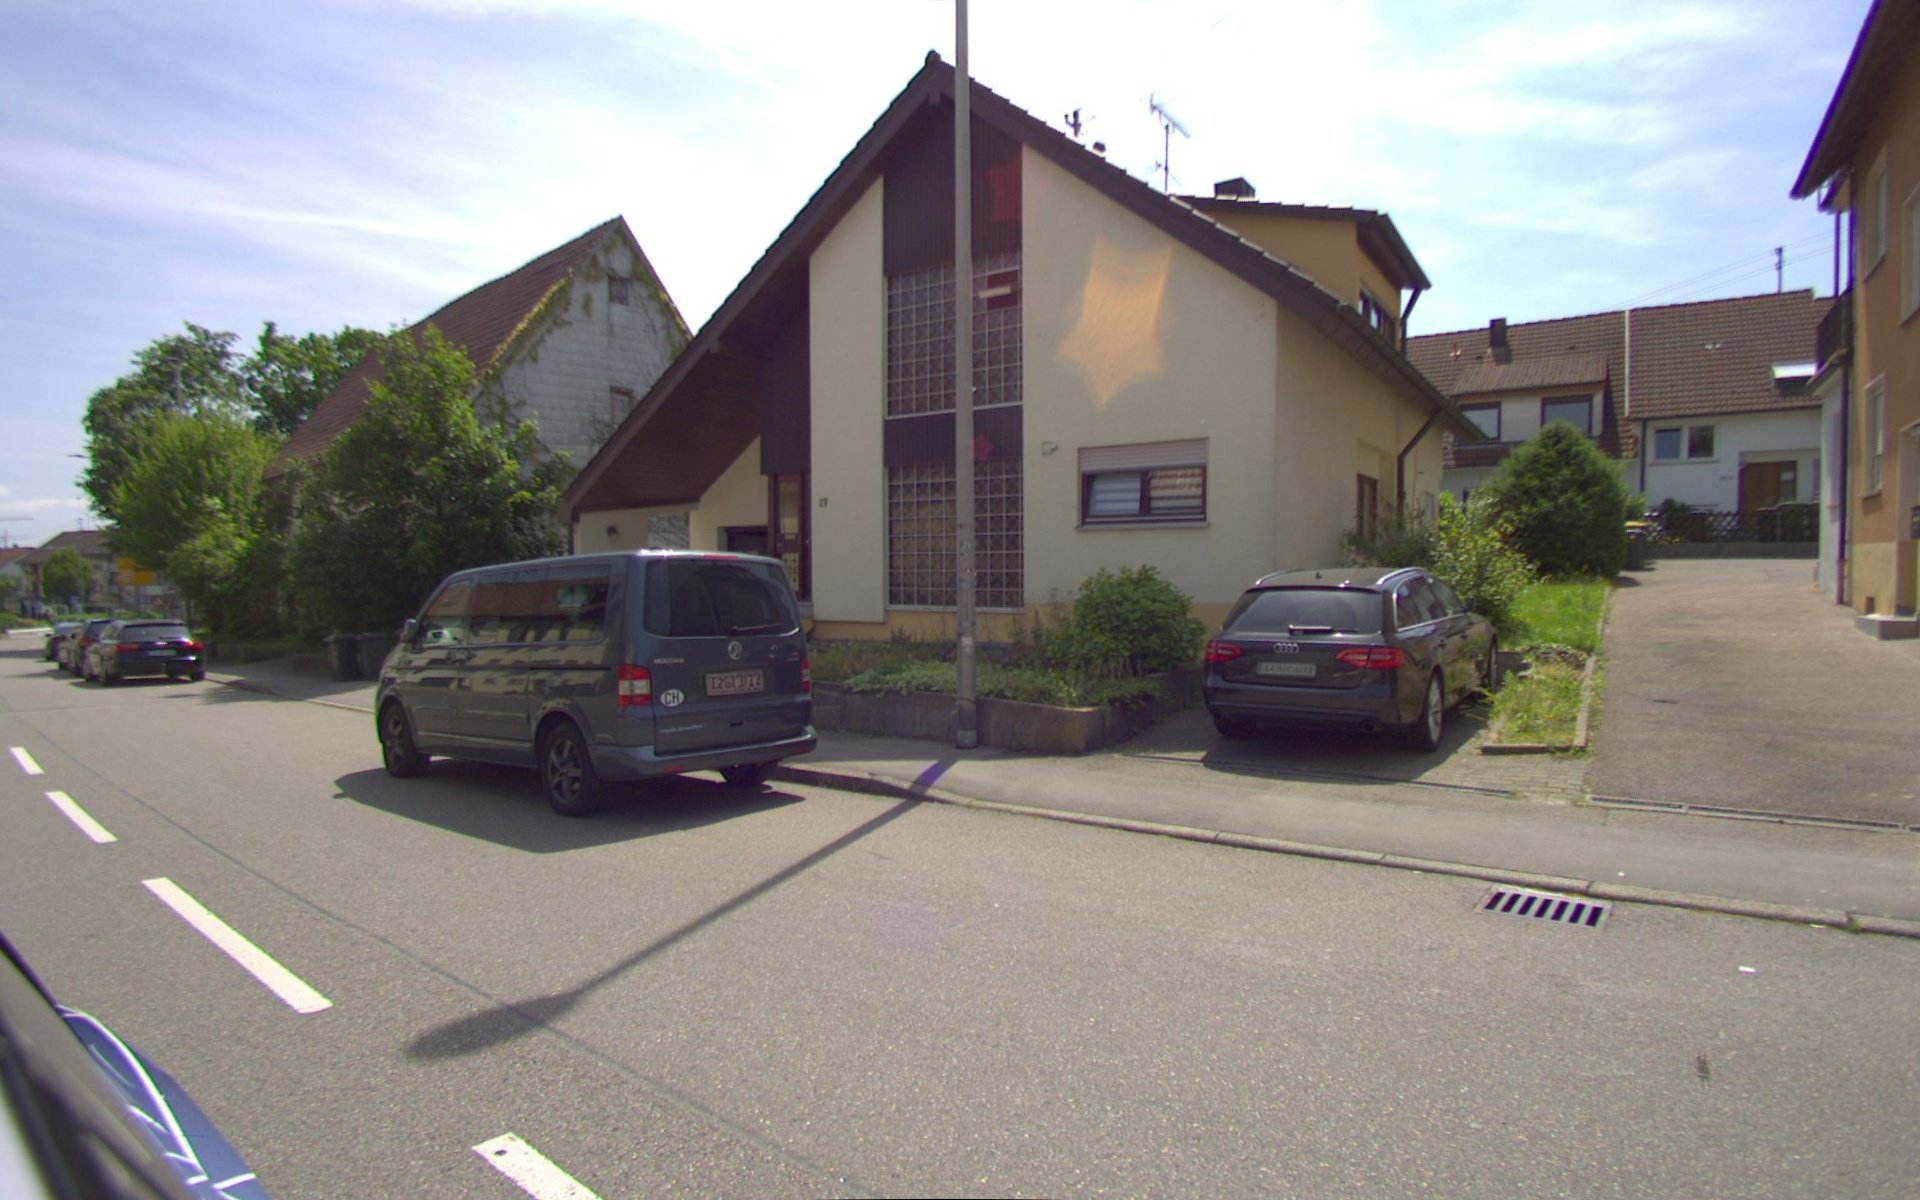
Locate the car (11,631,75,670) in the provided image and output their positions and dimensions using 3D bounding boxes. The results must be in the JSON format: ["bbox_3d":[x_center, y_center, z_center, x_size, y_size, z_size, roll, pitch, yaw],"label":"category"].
[{"bbox_3d":[-37.363,2.031,41.309,1.782,1.434,4.935,-1,-1,-41],"label":"car"}]

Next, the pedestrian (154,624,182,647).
[{"bbox_3d":[-47.544,2.113,60.772,1.220,1.278,0.648,-3,2,-34],"label":"pedestrian"}]

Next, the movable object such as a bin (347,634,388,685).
[{"bbox_3d":[-11.759,1.176,20.072,0.527,0.945,0.469,-1,5,40],"label":"movable object such as a bin"}]

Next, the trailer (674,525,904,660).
[{"bbox_3d":[-3.154,-0.223,19.274,1.998,2.027,3.796,-1,7,39],"label":"trailer"}]

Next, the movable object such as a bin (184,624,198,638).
[{"bbox_3d":[-60.875,2.447,80.078,0.790,1.007,0.807,-4,2,-35],"label":"movable object such as a bin"}]

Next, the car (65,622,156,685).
[{"bbox_3d":[-23.389,1.429,27.796,1.734,1.532,4.305,-1,-1,-42],"label":"car"}]

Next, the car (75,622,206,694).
[{"bbox_3d":[-19.314,1.314,23.769,4.776,1.484,1.799,-2,-1,44],"label":"car"}]

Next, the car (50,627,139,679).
[{"bbox_3d":[-27.389,1.607,31.975,4.714,1.474,1.768,-2,-1,45],"label":"car"}]

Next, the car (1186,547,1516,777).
[{"bbox_3d":[3.765,0.366,9.232,1.817,1.415,4.194,-2,4,35],"label":"car"}]

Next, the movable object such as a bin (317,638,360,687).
[{"bbox_3d":[-12.452,1.235,20.275,0.584,0.908,0.496,-1,4,38],"label":"movable object such as a bin"}]

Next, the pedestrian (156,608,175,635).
[{"bbox_3d":[-48.550,1.298,61.826,0.627,1.628,0.724,-1,1,32],"label":"pedestrian"}]

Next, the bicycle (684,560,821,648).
[{"bbox_3d":[-4.120,0.038,20.394,0.760,1.390,2.723,-1,7,39],"label":"bicycle"}]

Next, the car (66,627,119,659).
[{"bbox_3d":[-44.005,2.146,51.416,1.749,1.539,4.231,1,-2,-37],"label":"car"}]

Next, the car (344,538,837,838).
[{"bbox_3d":[-3.479,0.638,8.925,4.982,1.952,1.872,-2,-2,40],"label":"car"}]

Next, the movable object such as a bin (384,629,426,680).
[{"bbox_3d":[-11.351,1.108,20.687,0.524,0.955,0.496,-1,6,38],"label":"movable object such as a bin"}]
